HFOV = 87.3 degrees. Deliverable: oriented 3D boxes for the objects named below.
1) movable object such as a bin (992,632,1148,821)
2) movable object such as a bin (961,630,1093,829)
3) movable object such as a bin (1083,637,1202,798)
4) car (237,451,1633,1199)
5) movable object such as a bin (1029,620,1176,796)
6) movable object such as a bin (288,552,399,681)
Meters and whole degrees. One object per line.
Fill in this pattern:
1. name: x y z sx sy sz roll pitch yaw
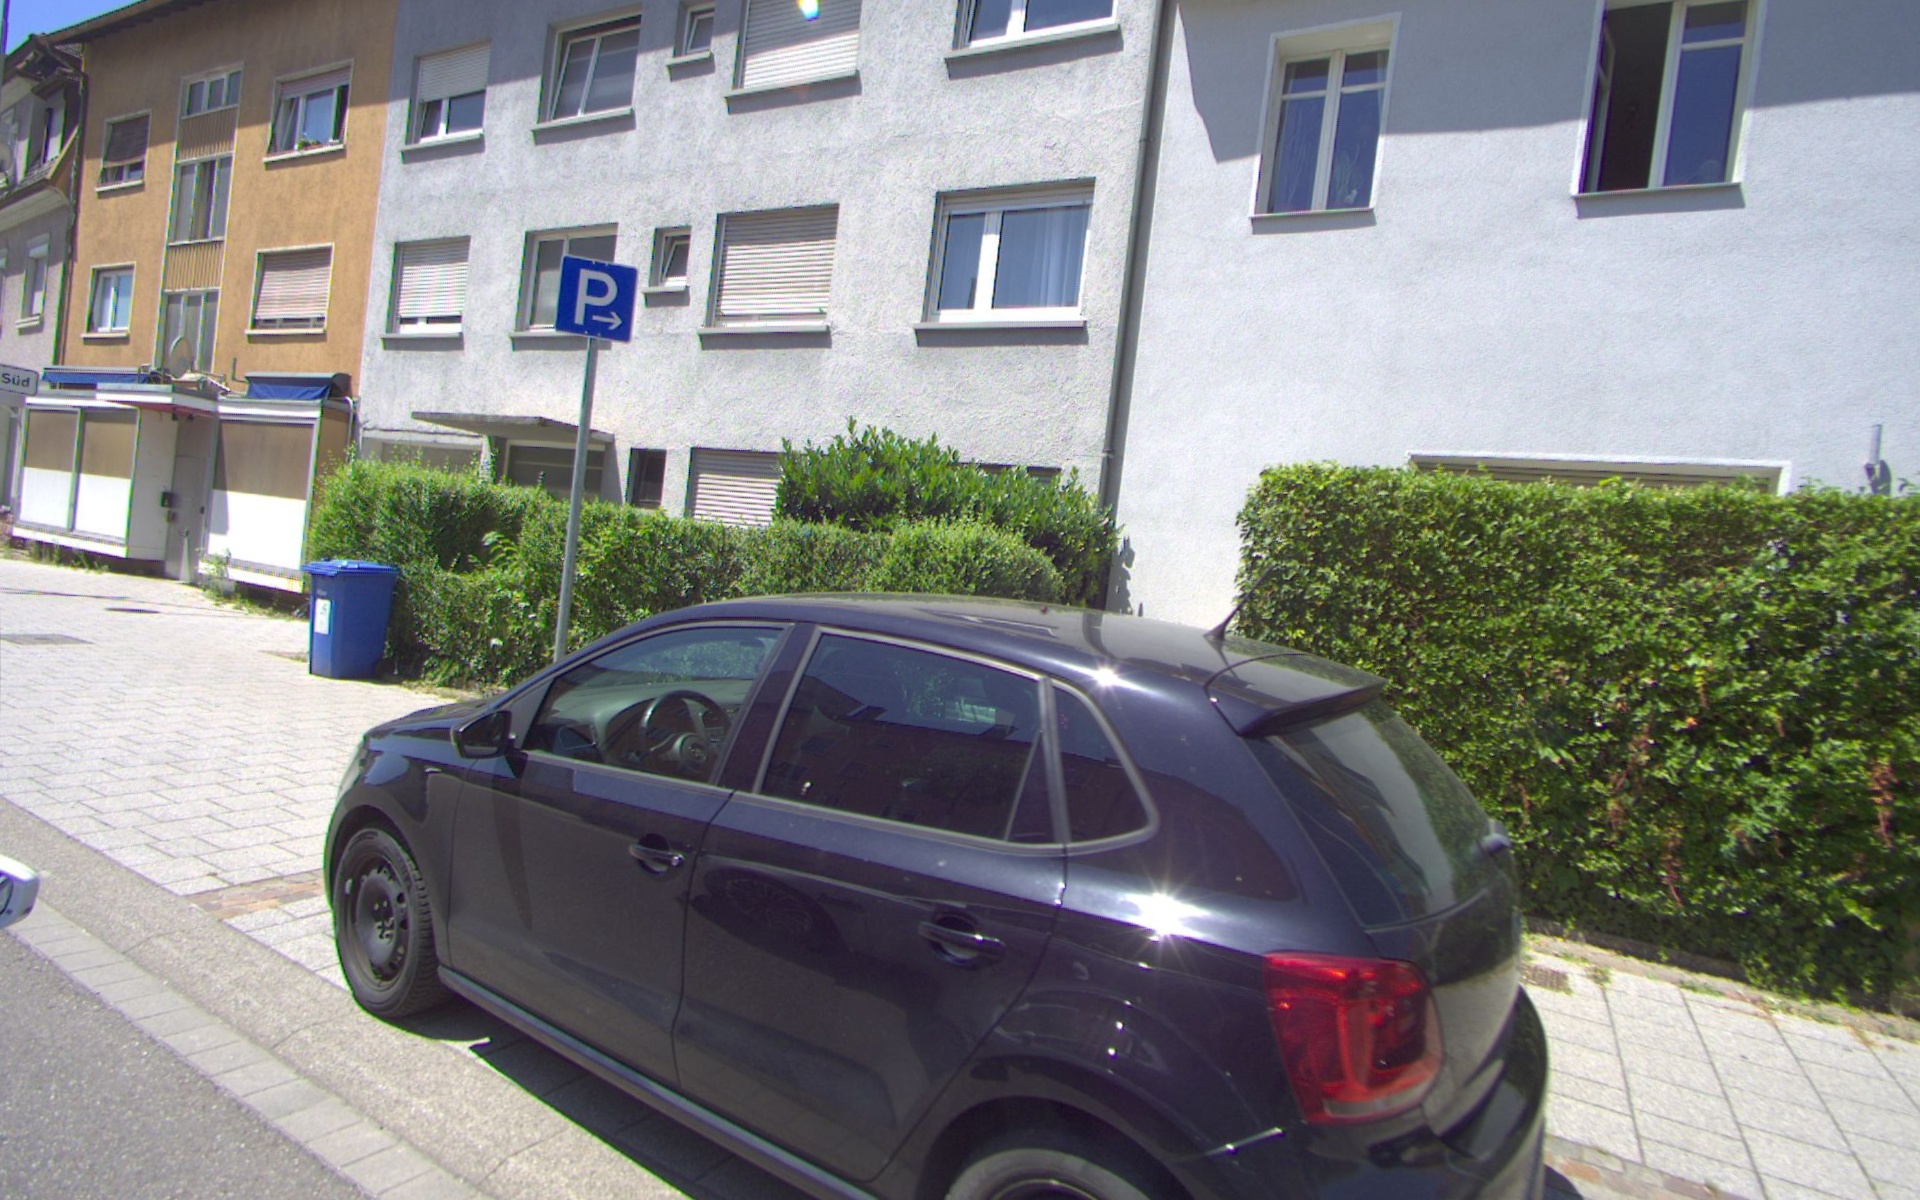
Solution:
1. movable object such as a bin: 0.736 0.816 6.723 0.763 1.099 0.554 7 2 32
2. movable object such as a bin: 0.423 0.785 6.295 0.546 1.118 0.487 7 2 31
3. movable object such as a bin: 1.431 0.894 7.868 0.616 1.123 0.611 7 2 32
4. car: -0.406 0.538 3.098 3.937 1.655 1.727 8 4 35
5. movable object such as a bin: 1.044 0.755 7.307 0.710 1.123 0.736 7 1 32
6. movable object such as a bin: -5.691 0.153 9.292 0.636 1.091 0.594 7 2 31
